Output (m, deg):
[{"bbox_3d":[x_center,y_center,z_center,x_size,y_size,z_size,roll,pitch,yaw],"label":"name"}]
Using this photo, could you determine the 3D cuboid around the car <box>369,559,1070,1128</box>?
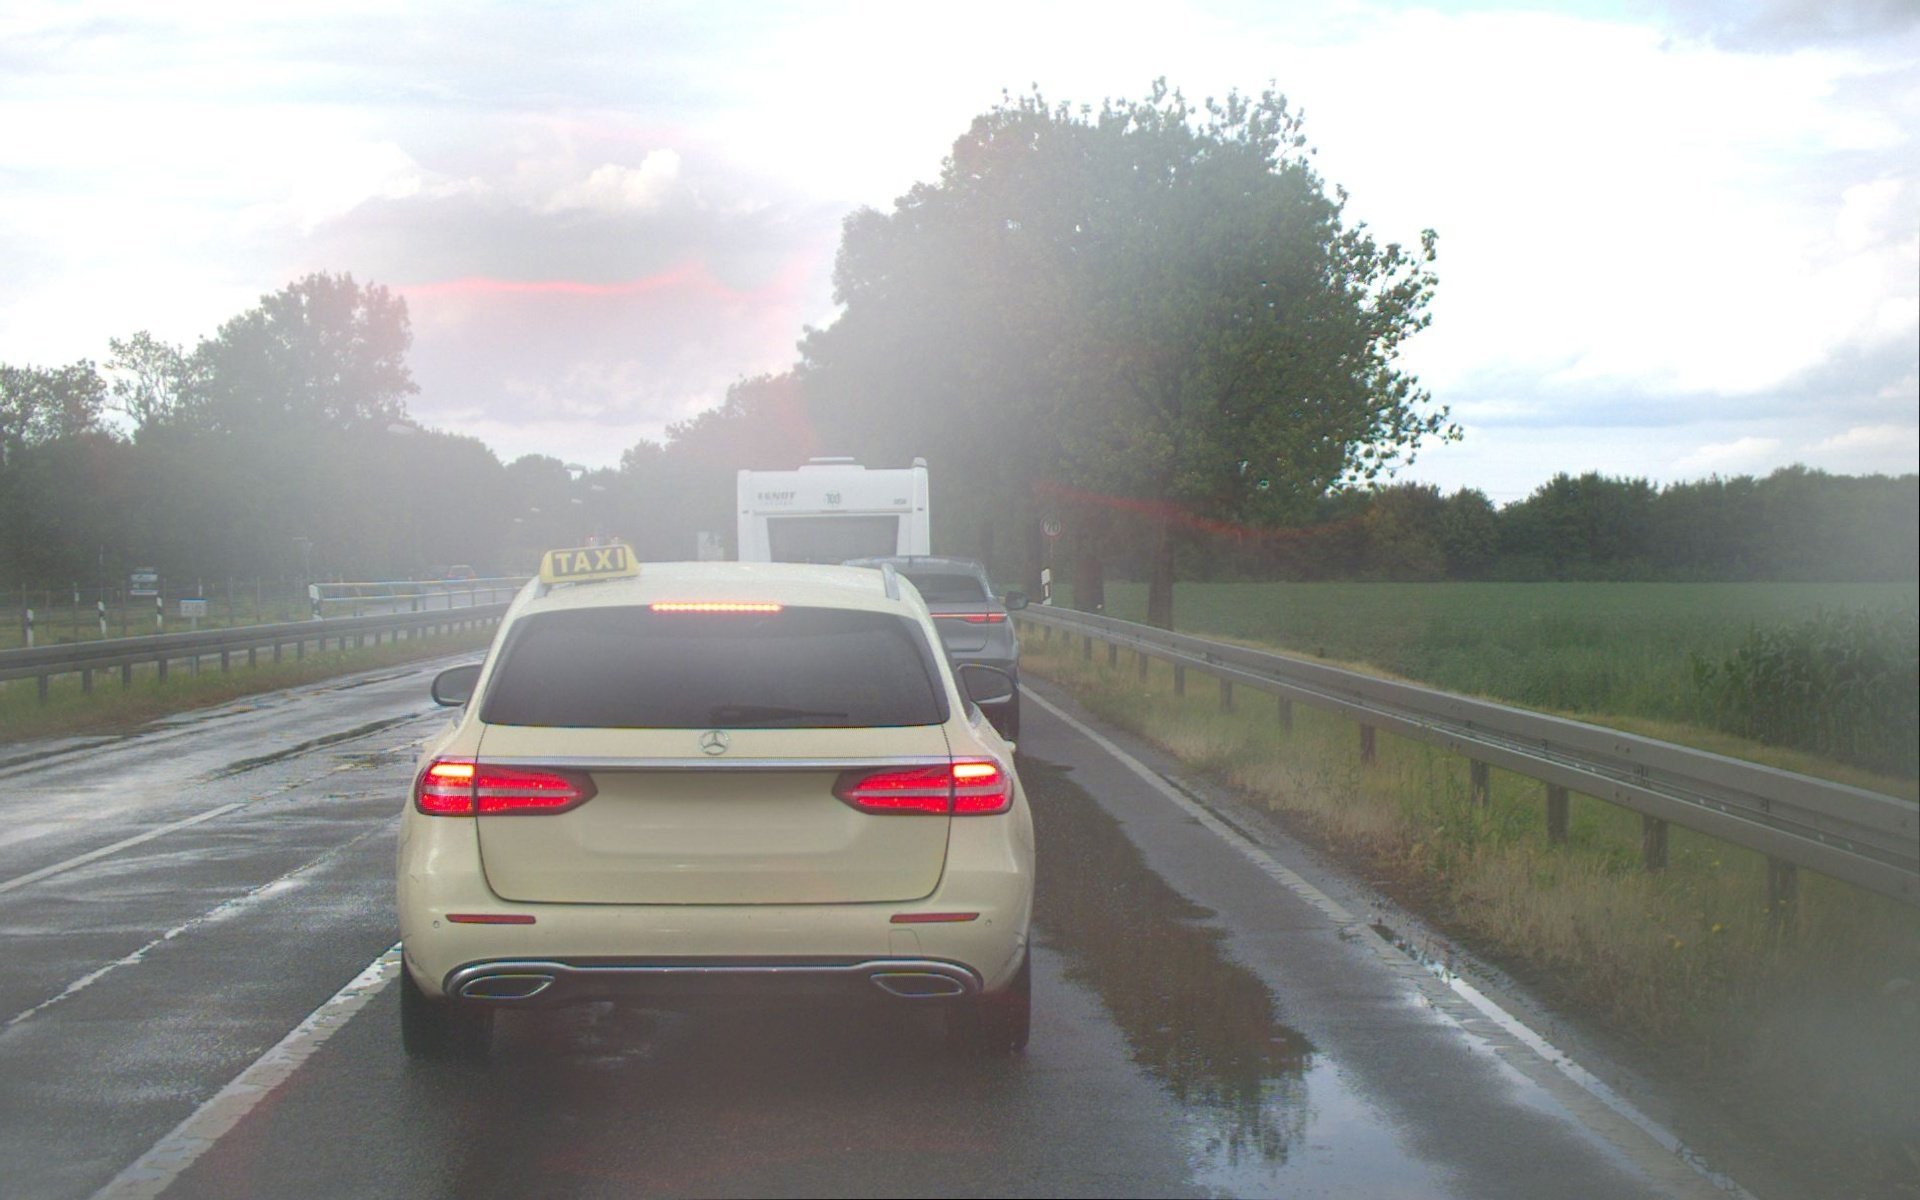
[{"bbox_3d":[-0.628,0.611,11.040,1.825,1.480,4.145,0,1,0],"label":"car"}]

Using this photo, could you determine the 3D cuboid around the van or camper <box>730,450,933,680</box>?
[{"bbox_3d":[-1.553,-0.466,42.874,2.350,2.671,5.769,0,1,-1],"label":"van or camper"}]

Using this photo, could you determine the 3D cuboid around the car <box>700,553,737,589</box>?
[{"bbox_3d":[-13.710,-1.638,195.380,1.993,2.044,4.000,0,1,-2],"label":"car"}]

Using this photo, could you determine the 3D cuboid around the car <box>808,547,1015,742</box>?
[{"bbox_3d":[-0.423,0.322,29.071,1.627,1.524,3.933,0,1,-1],"label":"car"}]

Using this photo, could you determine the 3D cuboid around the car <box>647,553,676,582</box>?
[{"bbox_3d":[-21.135,-2.284,243.279,1.993,2.007,4.001,0,1,-6],"label":"car"}]

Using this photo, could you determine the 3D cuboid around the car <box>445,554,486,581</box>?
[{"bbox_3d":[-30.810,-2.022,214.182,1.993,1.645,4.000,0,1,0],"label":"car"}]

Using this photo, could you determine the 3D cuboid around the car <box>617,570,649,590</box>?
[{"bbox_3d":[-21.122,-1.319,222.122,1.758,1.265,4.000,0,1,-1],"label":"car"}]

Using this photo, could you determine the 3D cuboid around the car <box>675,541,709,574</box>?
[{"bbox_3d":[-16.187,-2.570,207.725,1.993,2.007,4.001,0,1,-3],"label":"car"}]
